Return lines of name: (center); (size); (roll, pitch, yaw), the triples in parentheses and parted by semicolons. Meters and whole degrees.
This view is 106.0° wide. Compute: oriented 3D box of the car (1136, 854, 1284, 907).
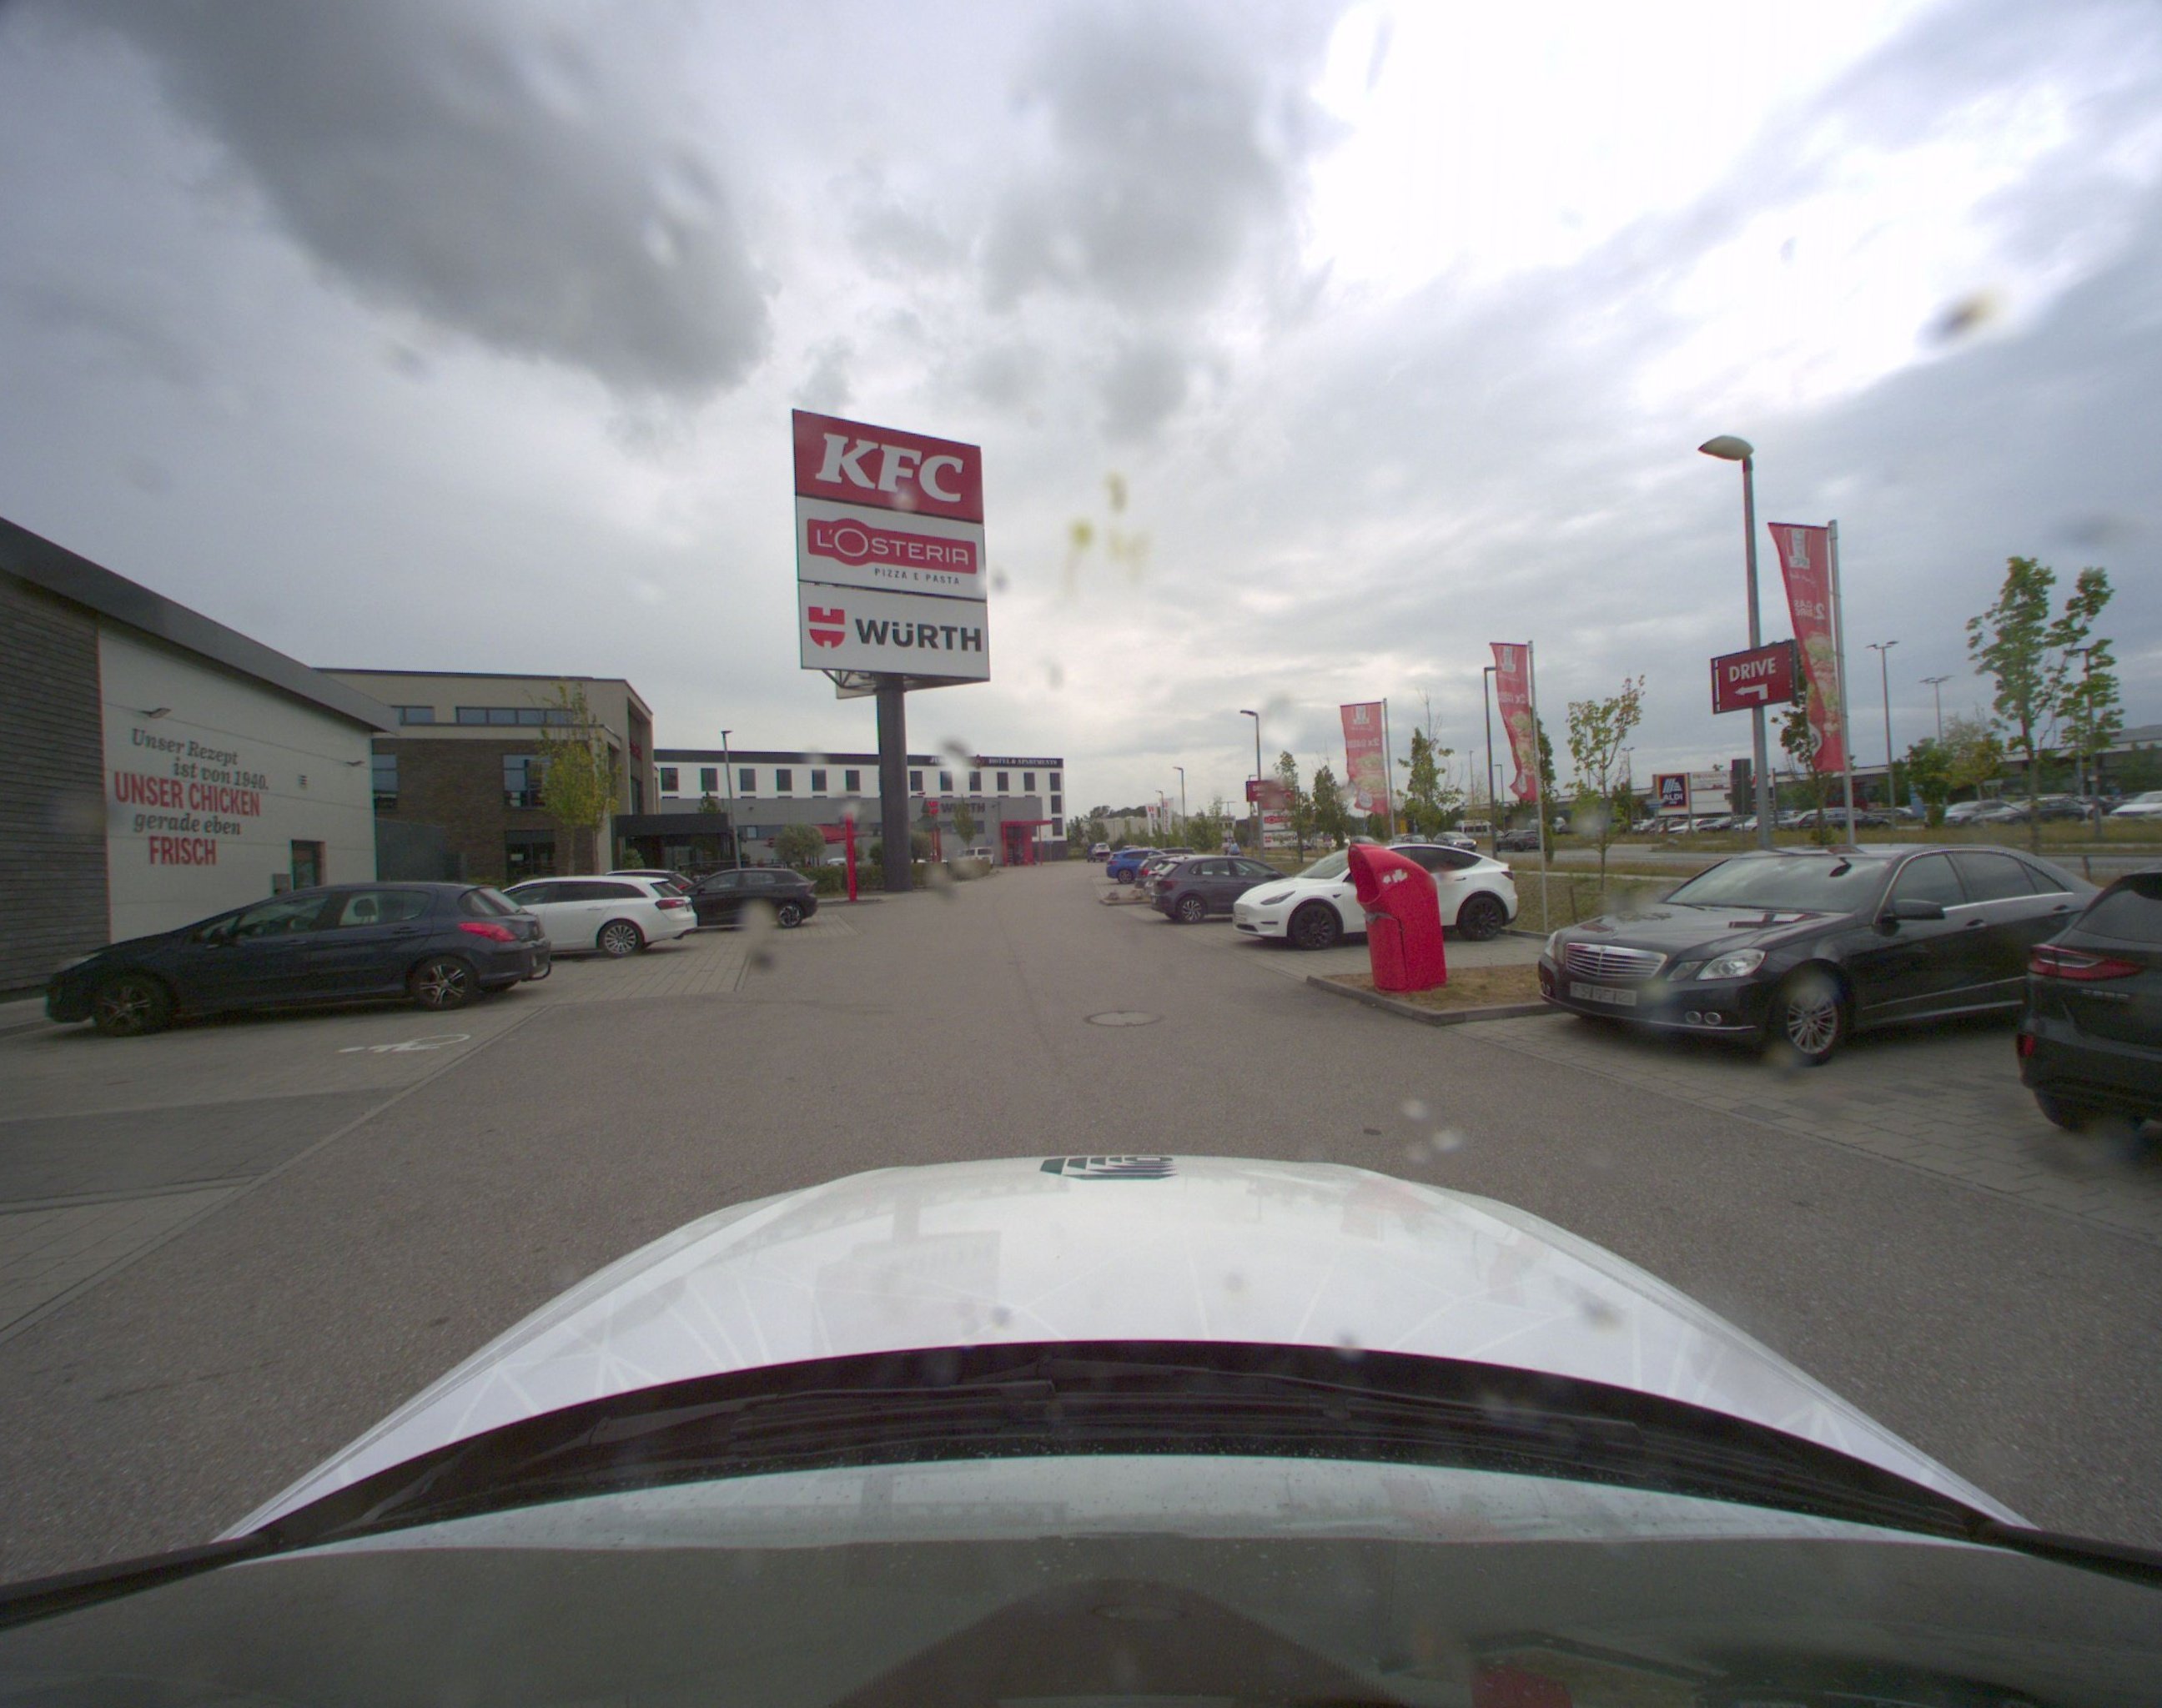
car: (3.666, 0.722, 23.538); (3.919, 1.412, 1.837); (-1, 0, -5)

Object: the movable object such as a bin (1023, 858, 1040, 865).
movable object such as a bin: (-5.011, 0.768, 81.991); (1.495, 0.704, 0.957); (-2, -1, -24)

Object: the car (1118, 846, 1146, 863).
car: (5.069, 0.055, 81.385); (1.858, 1.650, 3.984); (-1, -1, -11)

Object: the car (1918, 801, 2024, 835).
car: (48.078, -1.929, 44.036); (4.036, 1.539, 1.768); (-4, 0, -6)

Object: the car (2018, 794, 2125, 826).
car: (68.117, -3.008, 56.101); (1.998, 1.837, 4.164); (-4, 1, -15)

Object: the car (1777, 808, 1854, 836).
car: (48.560, -2.080, 53.901); (3.750, 1.539, 1.767); (-4, 0, -9)

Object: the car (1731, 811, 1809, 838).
car: (48.667, -2.064, 57.555); (4.040, 1.539, 1.994); (-4, 0, -9)

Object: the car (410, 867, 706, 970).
car: (-9.389, 1.088, 15.088); (4.180, 1.486, 1.987); (-3, 1, -20)

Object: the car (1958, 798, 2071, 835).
car: (47.734, -1.890, 41.681); (4.036, 1.539, 1.768); (-4, 0, -6)

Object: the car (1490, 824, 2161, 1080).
car: (6.039, 0.598, 6.663); (4.735, 1.456, 1.902); (-2, 0, -15)

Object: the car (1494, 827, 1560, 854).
car: (29.417, -0.872, 53.883); (1.789, 1.552, 4.858); (-4, 0, 2)

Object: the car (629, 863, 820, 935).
car: (-8.706, 1.066, 20.235); (4.124, 1.528, 1.729); (-2, -1, -20)

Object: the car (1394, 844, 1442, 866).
car: (25.981, 0.060, 62.958); (1.845, 1.499, 4.283); (-3, 0, -1)

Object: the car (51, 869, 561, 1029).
car: (-8.654, 0.968, 9.580); (3.939, 1.487, 1.747); (-1, 0, -20)

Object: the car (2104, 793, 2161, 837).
car: (48.268, -1.821, 36.107); (4.313, 1.771, 1.991); (-4, 0, -14)

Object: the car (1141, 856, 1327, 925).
car: (3.402, 0.777, 18.485); (3.793, 1.412, 1.734); (-1, 0, -8)

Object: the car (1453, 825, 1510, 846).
car: (47.416, -2.165, 96.437); (5.560, 2.121, 2.340); (-4, 0, 0)

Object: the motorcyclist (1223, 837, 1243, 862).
motorcyclist: (9.404, -0.254, 50.322); (0.938, 1.489, 0.827); (-3, 0, -11)

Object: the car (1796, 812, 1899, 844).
car: (45.822, -1.526, 48.739); (4.128, 1.539, 2.002); (-4, 0, 4)

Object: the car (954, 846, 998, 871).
car: (-9.423, 0.415, 72.874); (2.071, 1.855, 4.018); (-8, 2, -34)

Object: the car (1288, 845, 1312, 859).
car: (22.232, -0.170, 82.739); (1.458, 1.336, 3.159); (-3, 0, -3)

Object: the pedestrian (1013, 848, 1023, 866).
pedestrian: (-6.407, 0.290, 83.028); (0.679, 1.802, 0.873); (-2, 0, -23)

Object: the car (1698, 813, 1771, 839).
car: (48.528, -2.073, 60.518); (4.040, 1.539, 1.994); (-4, 0, -9)

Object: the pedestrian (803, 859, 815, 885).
pedestrian: (-13.056, 0.871, 39.093); (0.420, 1.199, 0.454); (-4, 0, -15)

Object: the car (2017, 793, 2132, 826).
car: (58.012, -2.585, 47.609); (4.130, 1.539, 2.002); (-4, 0, 2)

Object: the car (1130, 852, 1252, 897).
car: (3.746, 0.676, 28.233); (3.976, 1.428, 1.726); (-1, 0, -2)

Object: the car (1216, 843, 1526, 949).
car: (4.734, 0.621, 13.578); (4.531, 1.541, 1.919); (-1, 0, -10)

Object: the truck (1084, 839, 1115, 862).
truck: (2.153, -0.376, 97.566); (2.330, 2.407, 7.872); (-1, -2, -8)

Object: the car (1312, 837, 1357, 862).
car: (22.738, -0.443, 73.234); (1.990, 2.086, 5.223); (-3, 1, -4)

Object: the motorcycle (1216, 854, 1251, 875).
motorcycle: (9.439, 0.625, 50.322); (1.916, 1.208, 0.792); (-3, 0, -11)

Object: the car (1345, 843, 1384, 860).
car: (25.549, -0.209, 73.440); (1.760, 1.394, 4.212); (-3, 0, -4)

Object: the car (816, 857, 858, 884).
car: (-16.912, 1.150, 56.276); (2.004, 1.650, 4.539); (-4, 0, -25)

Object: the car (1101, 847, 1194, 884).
car: (3.053, 0.521, 38.004); (4.188, 1.544, 1.865); (-2, 0, 0)

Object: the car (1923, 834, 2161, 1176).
car: (6.452, 0.596, 3.749); (4.065, 1.412, 1.878); (-1, 0, -16)

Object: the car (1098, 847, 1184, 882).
car: (2.944, 0.500, 40.290); (4.045, 1.459, 1.777); (-3, 1, 2)

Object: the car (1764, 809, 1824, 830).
car: (73.132, -3.536, 83.596); (1.997, 1.837, 4.166); (-4, 1, -14)

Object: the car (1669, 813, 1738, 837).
car: (48.907, -2.256, 64.040); (4.054, 1.501, 1.862); (-4, 0, -5)

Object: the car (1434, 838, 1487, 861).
car: (26.003, -0.315, 55.934); (1.817, 1.459, 4.001); (-4, 0, 1)

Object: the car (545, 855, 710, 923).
car: (-13.226, 0.982, 23.817); (4.017, 1.596, 1.718); (-4, 0, -34)
